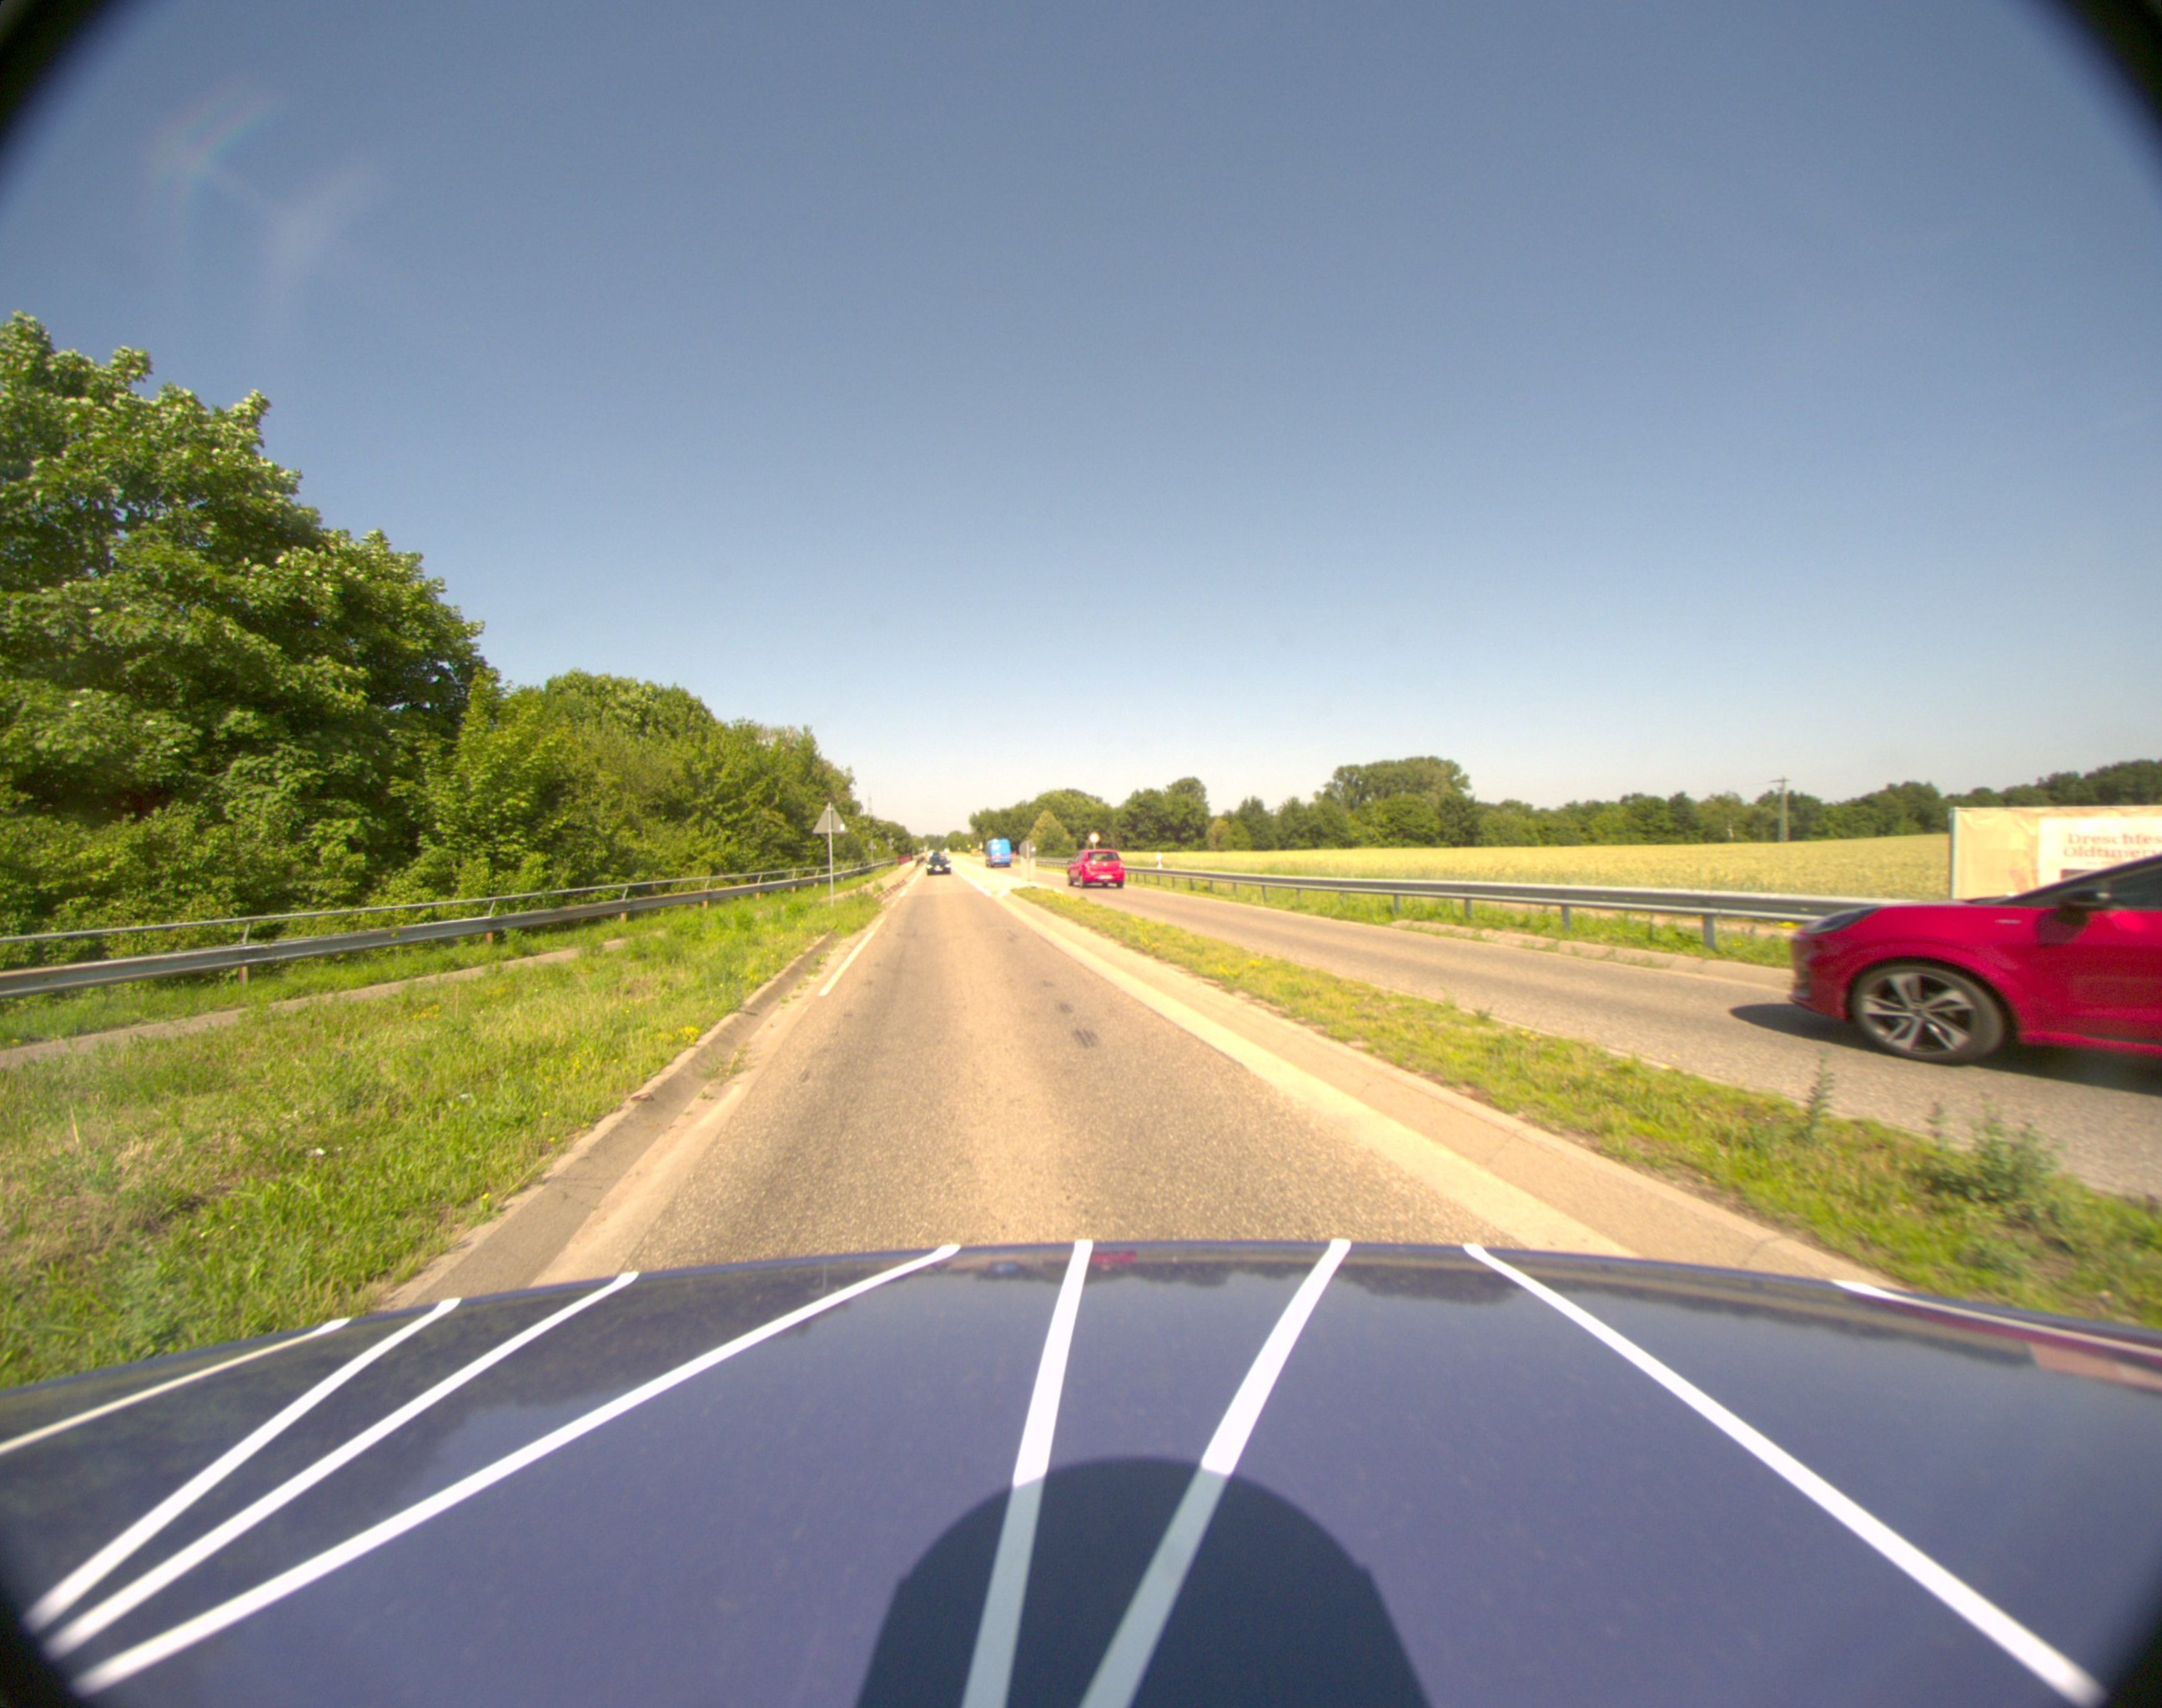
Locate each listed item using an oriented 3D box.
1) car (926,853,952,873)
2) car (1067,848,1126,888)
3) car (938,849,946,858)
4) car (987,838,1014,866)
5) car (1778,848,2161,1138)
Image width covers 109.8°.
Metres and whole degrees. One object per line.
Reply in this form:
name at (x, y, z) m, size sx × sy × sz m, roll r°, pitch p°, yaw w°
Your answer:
car at (-10.810, 0.659, 58.117) m, size 1.808 × 1.390 × 4.175 m, roll -3°, pitch 1°, yaw -10°
car at (0.564, 0.504, 30.962) m, size 1.633 × 1.482 × 3.798 m, roll -1°, pitch 1°, yaw -11°
car at (-27.480, -0.123, 150.277) m, size 1.462 × 1.638 × 3.532 m, roll -3°, pitch 1°, yaw -11°
car at (-7.935, -0.244, 74.094) m, size 2.000 × 2.596 × 7.282 m, roll 0°, pitch 1°, yaw -11°
car at (6.596, 0.724, 4.083) m, size 1.752 × 1.514 × 3.823 m, roll -1°, pitch 0°, yaw -27°
